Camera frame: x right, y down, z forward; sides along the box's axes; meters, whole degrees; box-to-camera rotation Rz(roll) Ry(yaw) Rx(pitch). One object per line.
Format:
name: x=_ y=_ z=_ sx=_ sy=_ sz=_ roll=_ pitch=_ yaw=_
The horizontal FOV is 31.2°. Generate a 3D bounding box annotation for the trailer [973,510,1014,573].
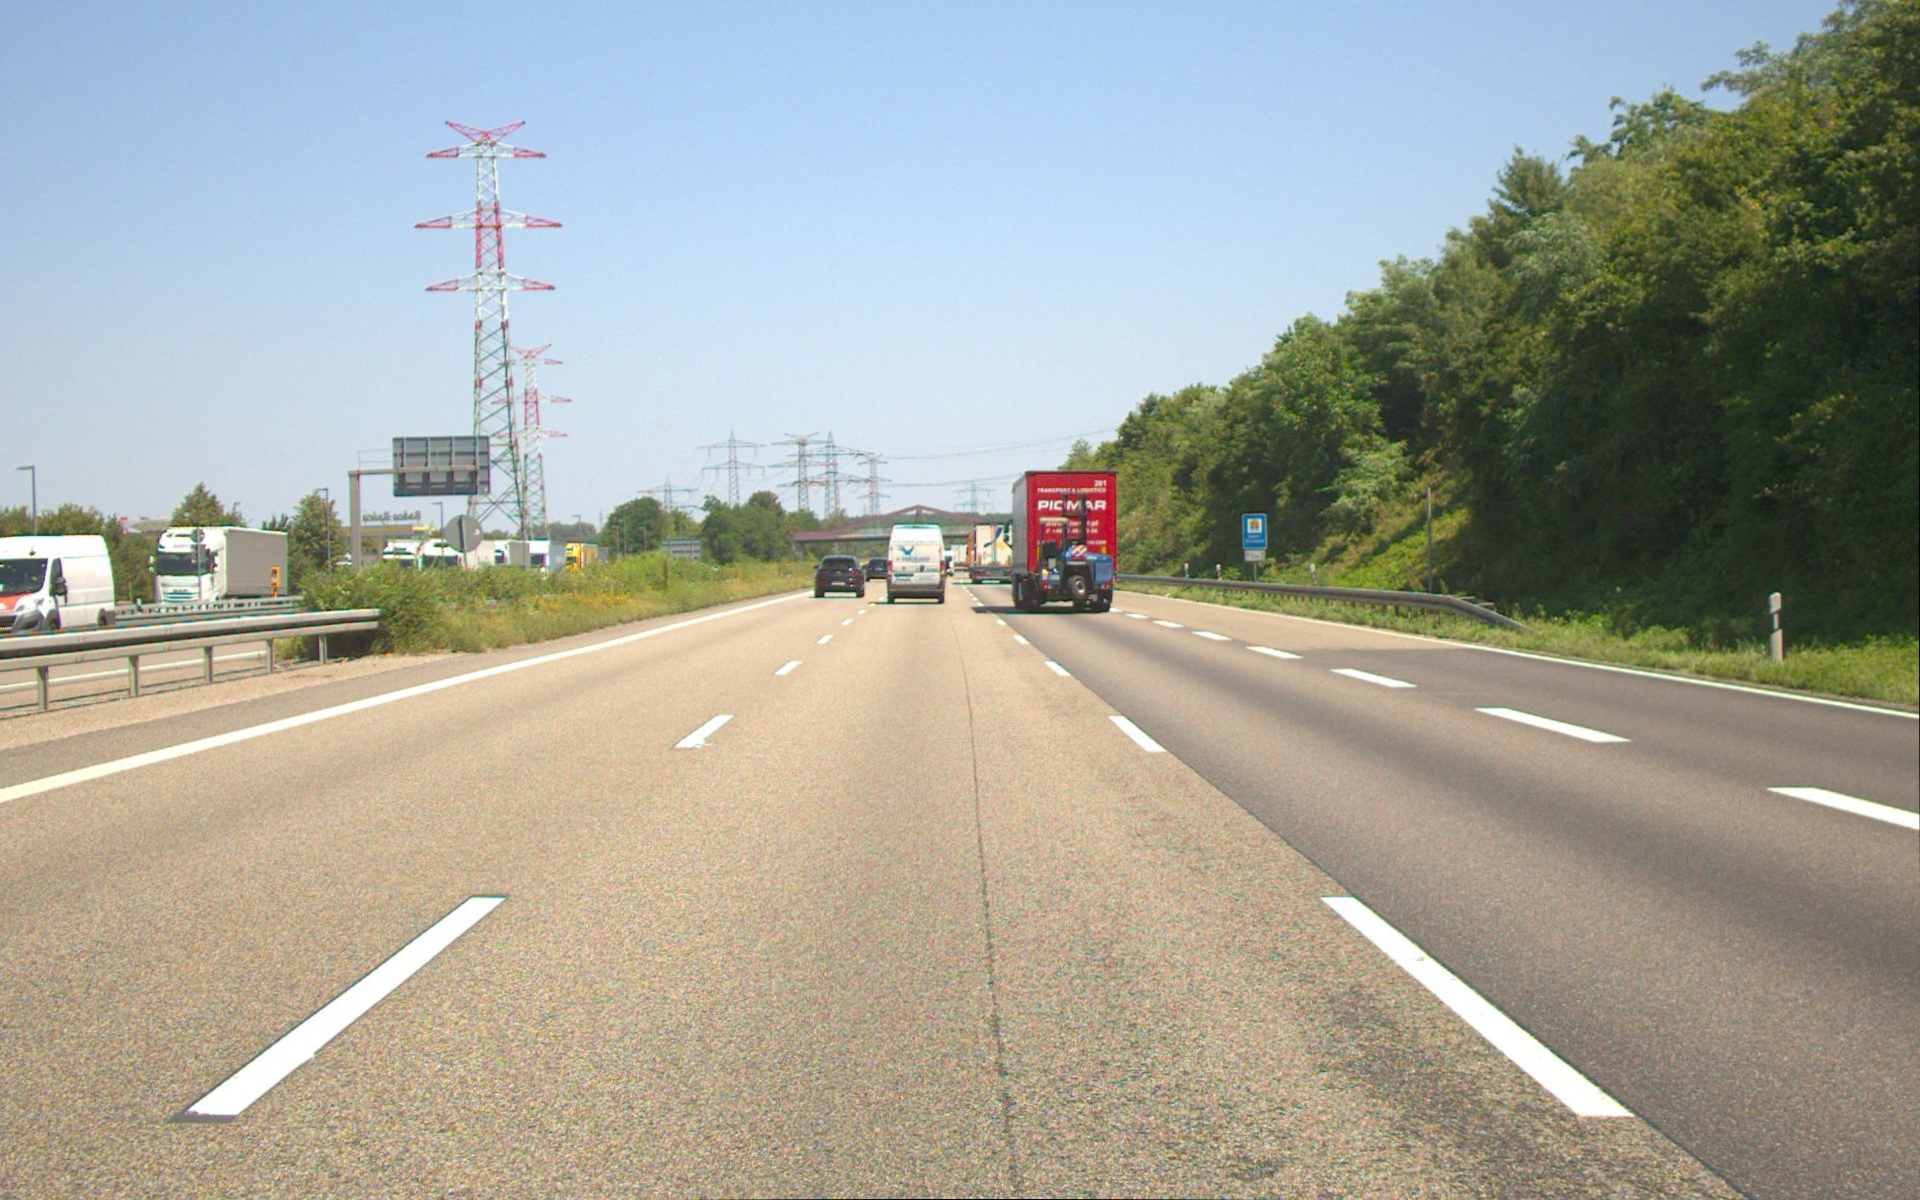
trailer: x=2.279 y=-3.855 z=228.999 sx=2.637 sy=4.047 sz=12.366 roll=1 pitch=1 yaw=1

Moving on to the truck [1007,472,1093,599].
truck: x=2.832 y=-2.025 z=109.812 sx=2.499 sy=3.906 sz=7.097 roll=0 pitch=0 yaw=0

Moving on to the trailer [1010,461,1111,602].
trailer: x=2.896 y=-1.967 z=102.818 sx=2.490 sy=3.896 sz=14.246 roll=0 pitch=0 yaw=0

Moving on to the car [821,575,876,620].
car: x=-4.585 y=-0.126 z=142.124 sx=1.982 sy=1.811 sz=3.812 roll=1 pitch=0 yaw=2

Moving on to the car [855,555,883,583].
car: x=-6.656 y=-2.270 z=251.741 sx=1.971 sy=2.005 sz=4.197 roll=1 pitch=0 yaw=-1

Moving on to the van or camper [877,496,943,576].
van or camper: x=-1.768 y=-2.258 z=122.522 sx=2.230 sy=2.773 sz=5.423 roll=1 pitch=0 yaw=0

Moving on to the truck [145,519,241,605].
truck: x=-33.543 y=-1.646 z=150.545 sx=2.799 sy=3.631 sz=6.147 roll=1 pitch=0 yaw=0

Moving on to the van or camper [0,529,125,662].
van or camper: x=-18.891 y=-0.121 z=69.705 sx=2.418 sy=2.573 sz=6.367 roll=0 pitch=1 yaw=-1
